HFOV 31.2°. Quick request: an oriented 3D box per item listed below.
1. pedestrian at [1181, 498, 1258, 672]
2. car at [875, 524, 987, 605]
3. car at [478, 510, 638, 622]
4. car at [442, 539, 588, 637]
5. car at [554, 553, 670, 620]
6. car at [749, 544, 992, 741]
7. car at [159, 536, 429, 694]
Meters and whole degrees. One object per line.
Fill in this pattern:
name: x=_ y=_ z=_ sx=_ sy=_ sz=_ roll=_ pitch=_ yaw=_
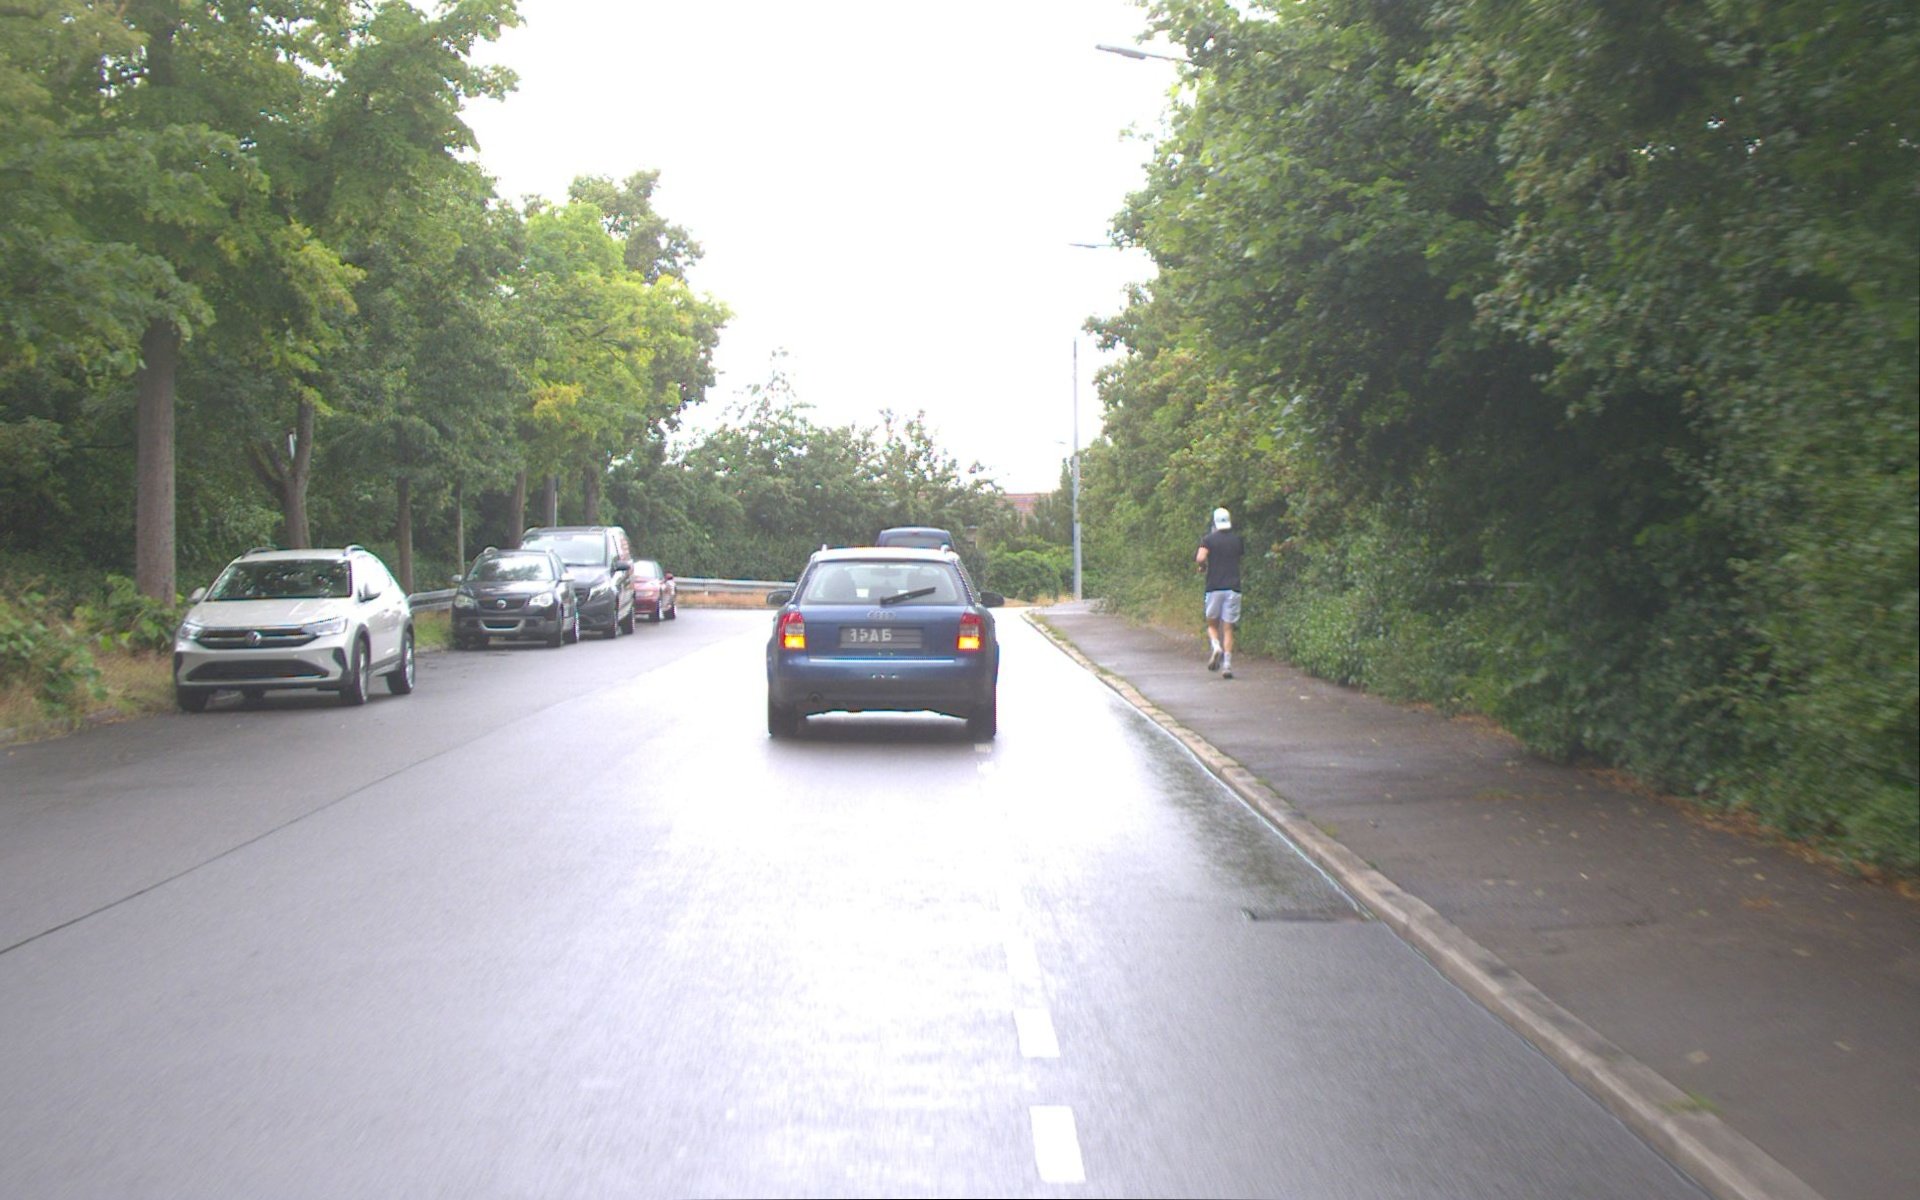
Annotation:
pedestrian: x=2.799 y=-0.173 z=37.118 sx=0.717 sy=1.828 sz=1.021 roll=-2 pitch=1 yaw=2
car: x=-0.492 y=-0.641 z=62.112 sx=1.891 sy=1.384 sz=4.000 roll=-1 pitch=1 yaw=1
car: x=-6.904 y=-0.595 z=59.584 sx=2.083 sy=1.813 sz=5.381 roll=-1 pitch=1 yaw=0
car: x=-6.884 y=-0.199 z=53.527 sx=1.797 sy=1.432 sz=4.256 roll=-1 pitch=1 yaw=-1
car: x=-7.111 y=-0.292 z=70.546 sx=1.789 sy=1.292 sz=4.325 roll=-1 pitch=1 yaw=2
car: x=-0.738 y=0.273 z=26.909 sx=1.747 sy=1.403 sz=4.001 roll=-1 pitch=1 yaw=-3
car: x=-6.459 y=0.117 z=33.747 sx=1.689 sy=1.432 sz=4.256 roll=-1 pitch=1 yaw=2
